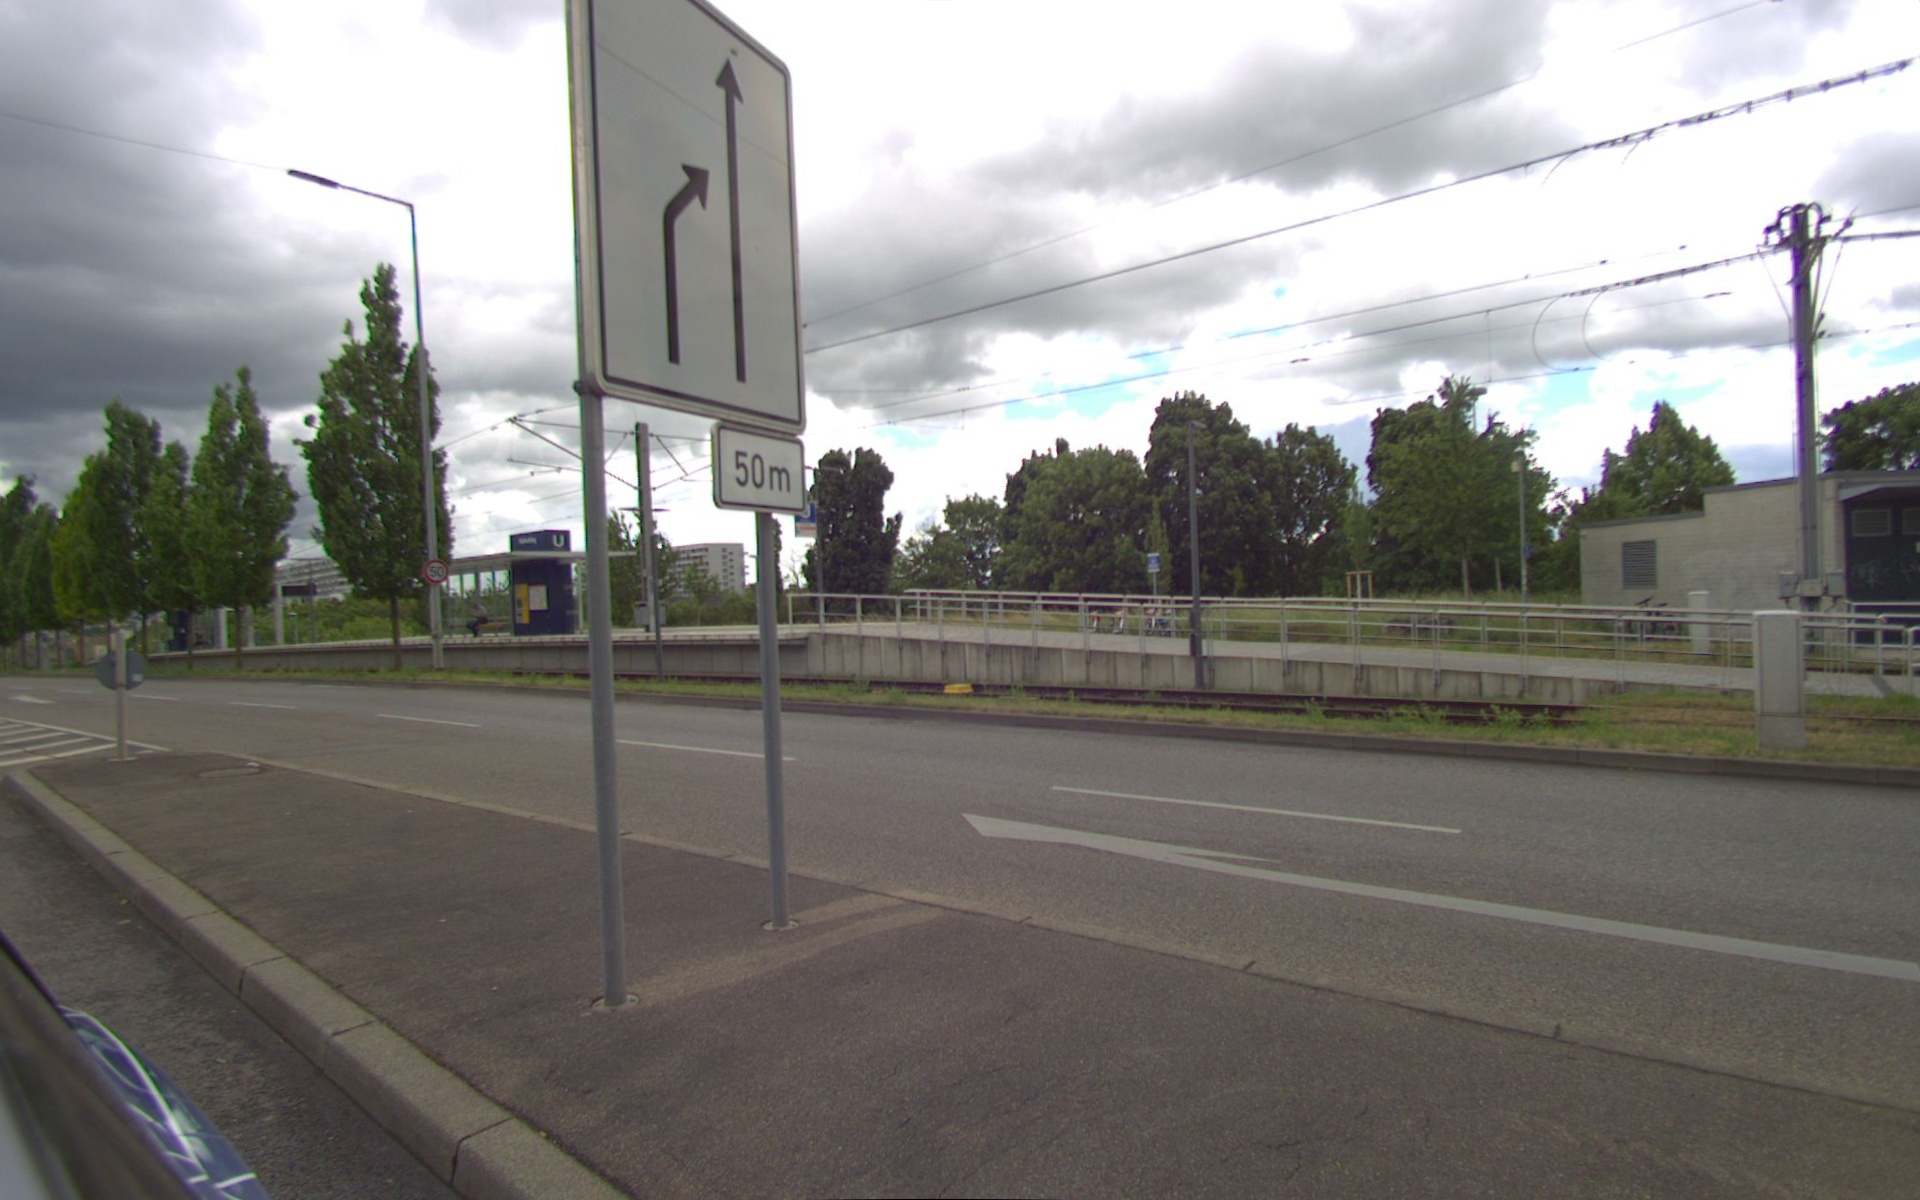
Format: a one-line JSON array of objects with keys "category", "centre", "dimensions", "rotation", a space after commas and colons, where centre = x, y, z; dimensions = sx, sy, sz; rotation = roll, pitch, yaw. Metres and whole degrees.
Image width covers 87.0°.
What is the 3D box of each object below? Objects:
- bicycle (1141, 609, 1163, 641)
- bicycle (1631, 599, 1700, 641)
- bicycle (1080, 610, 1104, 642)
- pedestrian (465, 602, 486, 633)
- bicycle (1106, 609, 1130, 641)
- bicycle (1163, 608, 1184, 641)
[{"category": "bicycle", "centre": [6.448, 0.833, 33.990], "dimensions": [0.531, 1.039, 1.804], "rotation": [-1, 0, 16]}, {"category": "bicycle", "centre": [18.165, 0.507, 26.103], "dimensions": [0.529, 1.039, 1.813], "rotation": [-1, 0, 1]}, {"category": "bicycle", "centre": [4.562, 0.887, 34.865], "dimensions": [0.531, 1.039, 1.804], "rotation": [-1, 0, 16]}, {"category": "pedestrian", "centre": [-18.181, 0.651, 37.959], "dimensions": [0.447, 1.163, 0.593], "rotation": [-1, 0, 41]}, {"category": "bicycle", "centre": [5.392, 0.846, 34.443], "dimensions": [0.531, 1.039, 1.804], "rotation": [-1, 0, 16]}, {"category": "bicycle", "centre": [7.116, 0.803, 33.647], "dimensions": [0.531, 1.039, 1.804], "rotation": [-1, 0, 16]}]
